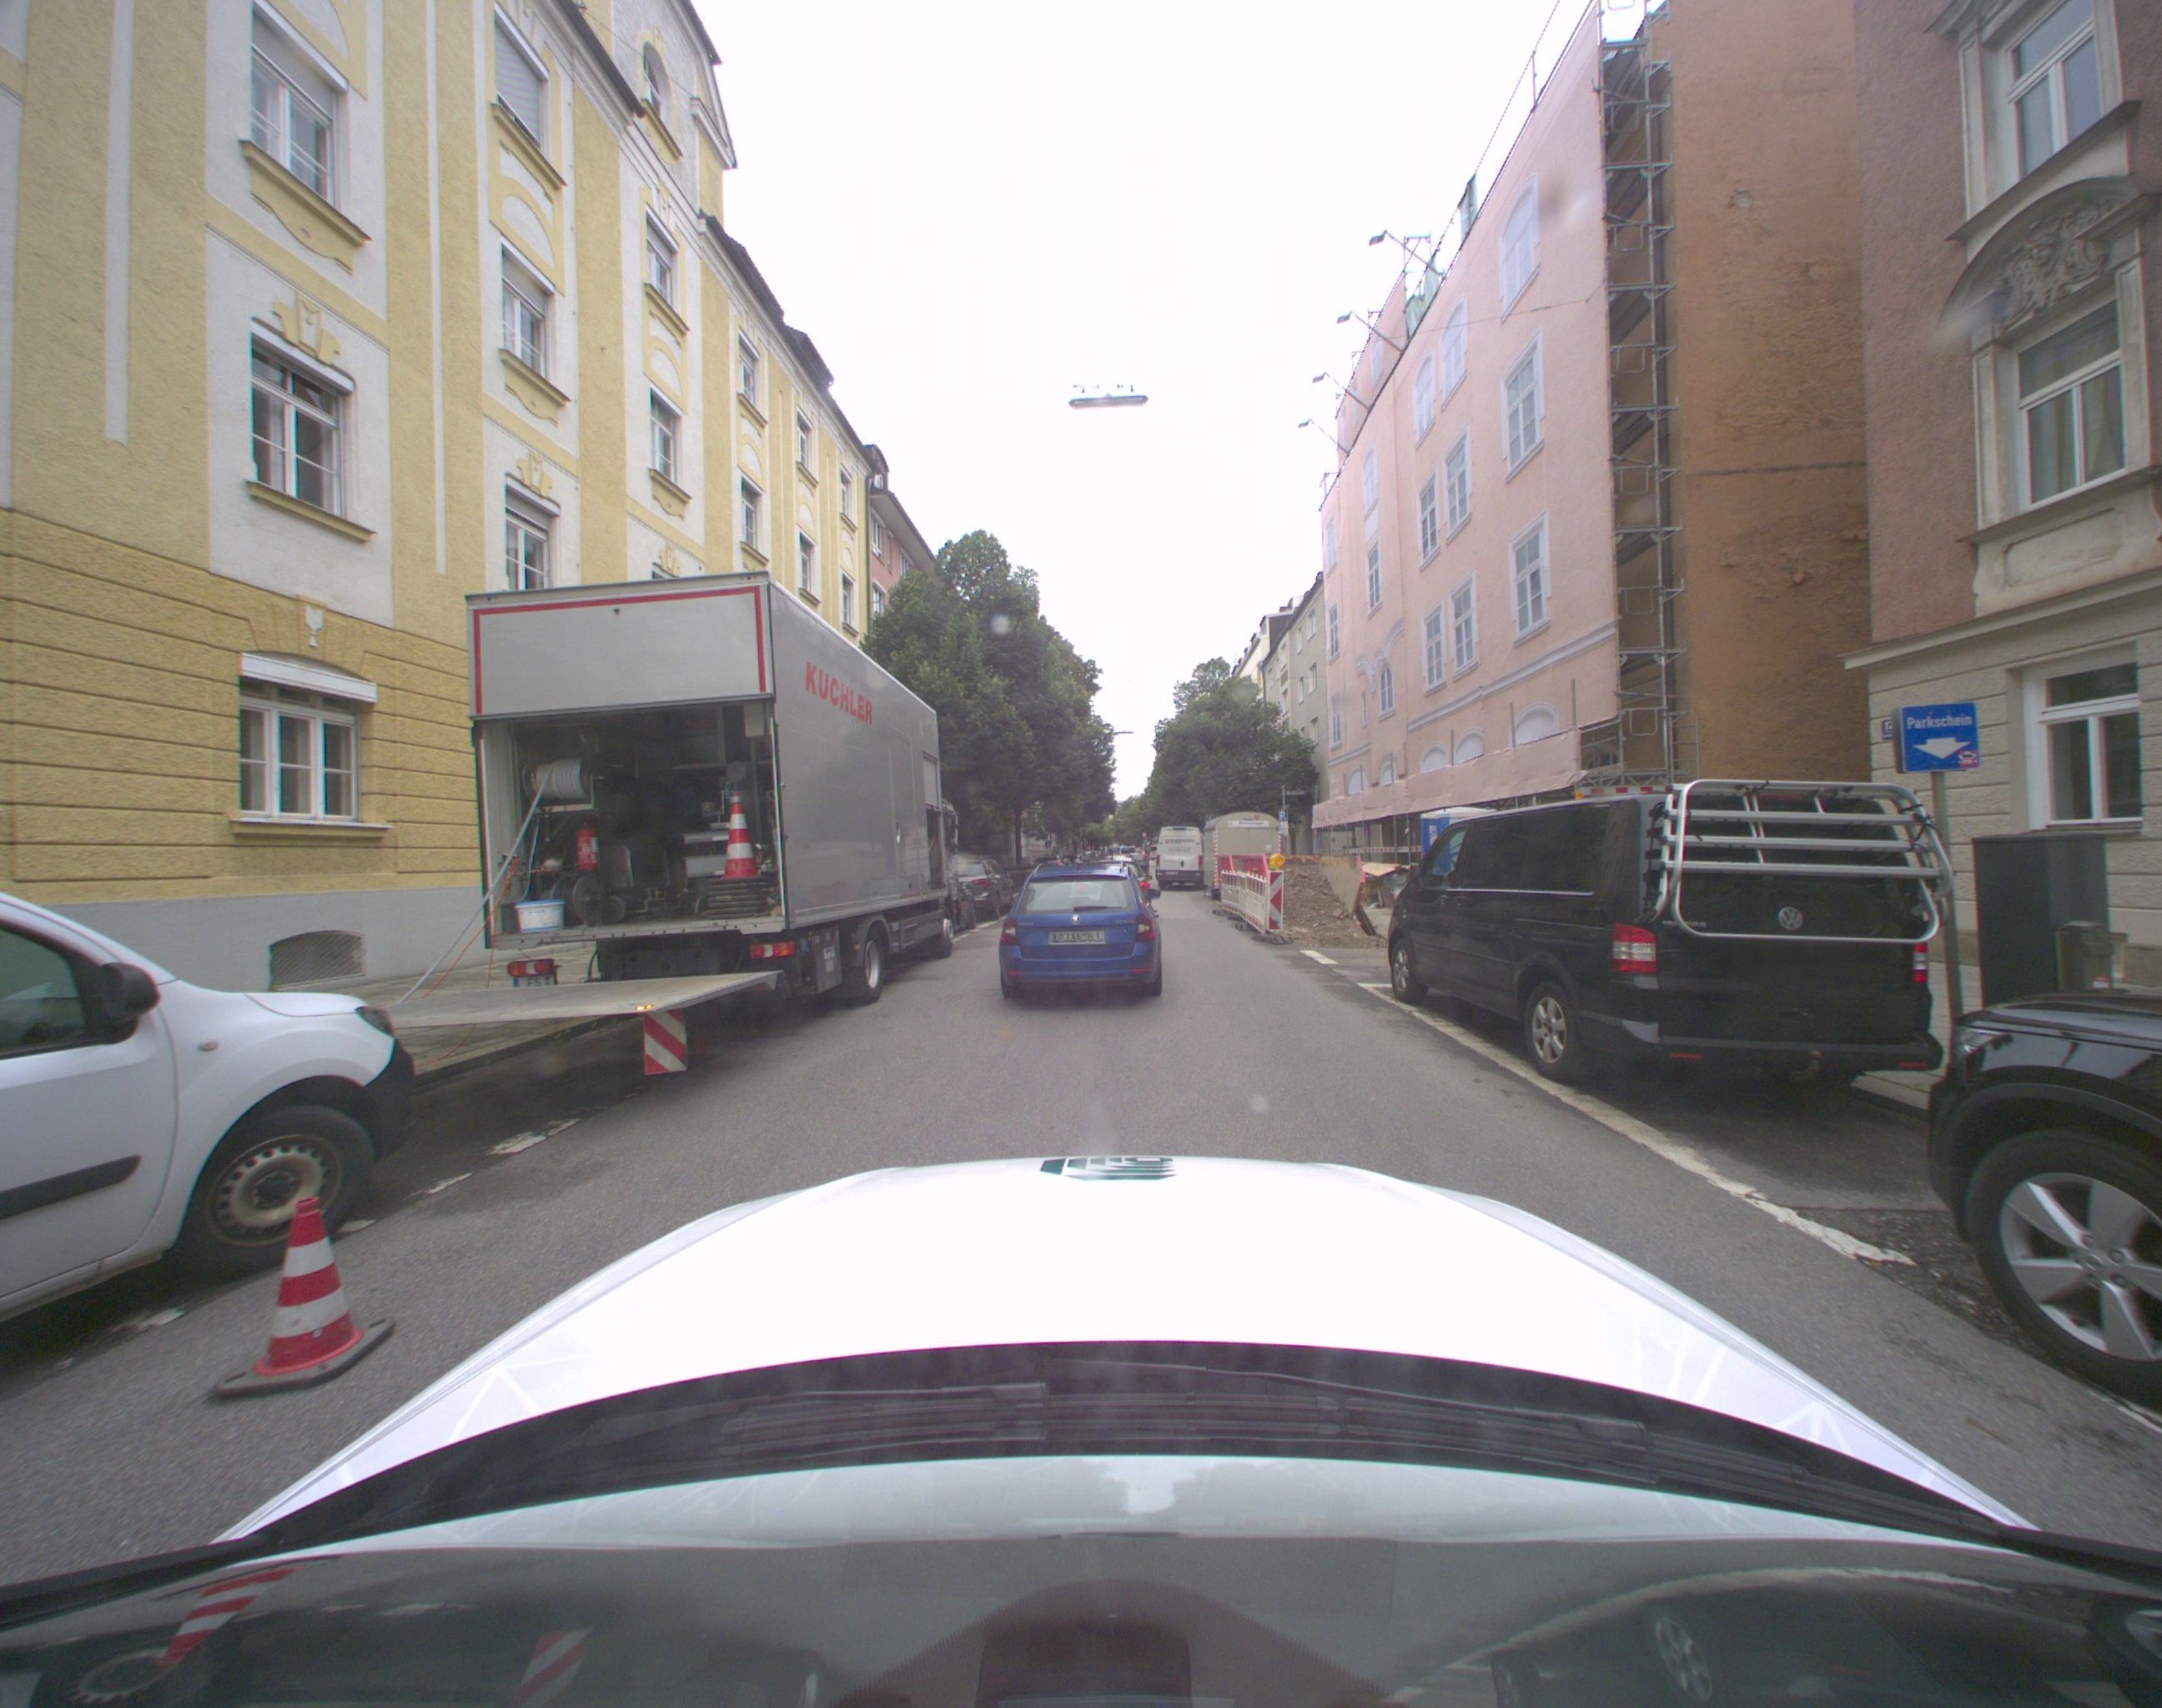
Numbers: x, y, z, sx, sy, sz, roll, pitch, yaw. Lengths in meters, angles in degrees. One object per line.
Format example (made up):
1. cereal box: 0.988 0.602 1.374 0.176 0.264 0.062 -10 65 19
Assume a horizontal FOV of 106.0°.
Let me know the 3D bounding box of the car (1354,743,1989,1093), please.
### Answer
1. car: 4.108 0.456 7.106 2.073 1.921 5.145 0 -3 4

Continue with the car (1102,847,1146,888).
1. car: 1.912 0.547 36.438 1.860 1.696 4.350 0 0 3

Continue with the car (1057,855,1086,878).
1. car: -0.589 0.794 53.998 1.805 1.478 4.001 -1 0 1

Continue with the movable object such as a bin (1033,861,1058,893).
1. movable object such as a bin: -1.574 1.020 36.556 1.017 1.376 1.103 -3 0 -1

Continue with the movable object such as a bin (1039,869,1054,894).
1. movable object such as a bin: -1.465 1.169 34.595 0.545 1.020 0.636 -3 0 0

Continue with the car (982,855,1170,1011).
1. car: 0.054 0.775 10.043 1.782 1.460 4.317 -2 0 3

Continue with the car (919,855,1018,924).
1. car: -2.930 0.877 22.180 1.777 1.628 4.190 -2 0 4

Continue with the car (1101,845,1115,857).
1. car: 3.940 -0.412 118.474 2.001 1.653 4.348 0 0 1

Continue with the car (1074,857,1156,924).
1. car: 0.849 0.790 19.322 1.733 1.422 3.667 0 0 4

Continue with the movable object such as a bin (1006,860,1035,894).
1. movable object such as a bin: -2.623 0.997 35.416 1.078 1.376 1.083 -3 0 -1

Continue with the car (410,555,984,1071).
1. car: -3.447 -0.281 10.522 2.801 3.817 8.730 -2 0 3

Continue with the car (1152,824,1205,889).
1. car: 4.434 0.126 36.406 2.100 2.664 5.514 0 -1 9

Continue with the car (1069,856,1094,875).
1. car: 0.072 0.904 66.031 1.804 1.478 4.004 -1 0 3

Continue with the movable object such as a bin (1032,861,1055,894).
1. movable object such as a bin: -1.626 1.005 35.458 0.915 1.376 1.079 -3 0 -1

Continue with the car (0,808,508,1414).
1. car: -4.104 0.800 2.183 1.755 1.779 4.331 -3 0 4

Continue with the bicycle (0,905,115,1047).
1. bicycle: -9.036 1.013 6.452 0.605 1.104 1.767 -1 -1 3

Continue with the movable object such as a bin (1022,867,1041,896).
1. movable object such as a bin: -2.084 1.164 34.560 0.709 1.148 0.636 -3 0 0

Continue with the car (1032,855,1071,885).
1. car: -1.519 0.821 43.287 1.805 1.478 4.001 -1 0 1

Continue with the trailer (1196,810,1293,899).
1. trailer: 5.654 0.049 29.247 2.491 2.840 6.907 0 -1 3

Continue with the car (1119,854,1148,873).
1. car: 3.840 0.683 60.232 1.861 1.348 4.347 0 0 0

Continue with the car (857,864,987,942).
1. car: -3.253 0.956 17.377 1.691 1.409 3.713 -2 -1 5

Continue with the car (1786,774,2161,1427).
1. car: 3.554 0.643 1.065 1.686 1.676 4.413 2 0 4

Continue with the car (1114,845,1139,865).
1. car: 4.480 0.063 80.749 1.864 1.870 4.341 0 0 -4

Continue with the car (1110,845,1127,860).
1. car: 4.370 -0.190 95.530 1.860 1.653 4.349 0 0 1

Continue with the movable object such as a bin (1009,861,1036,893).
1. movable object such as a bin: -2.630 1.024 36.518 1.054 1.376 1.095 -3 0 -1

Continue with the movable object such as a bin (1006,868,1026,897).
1. movable object such as a bin: -2.750 1.203 34.532 0.718 1.138 0.658 -3 0 0
